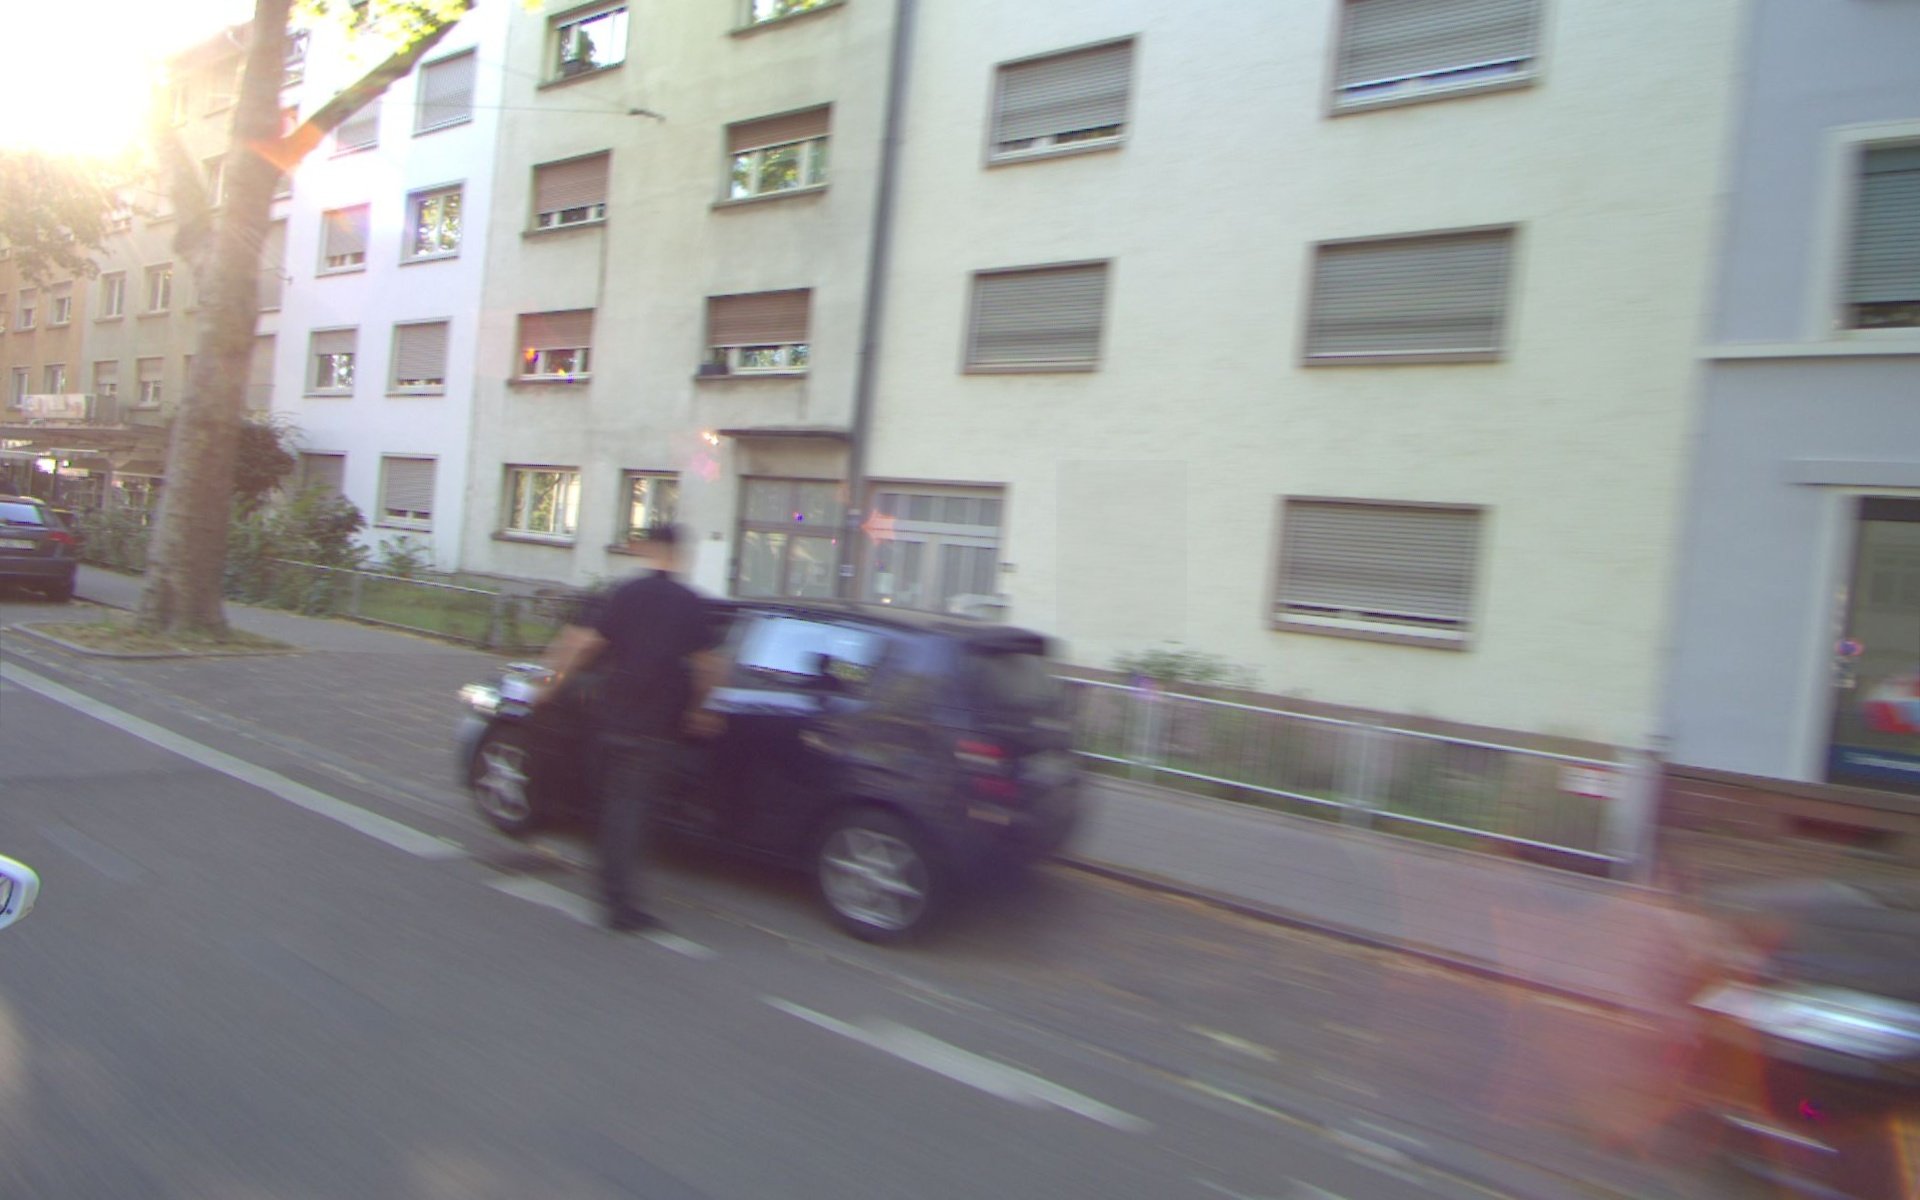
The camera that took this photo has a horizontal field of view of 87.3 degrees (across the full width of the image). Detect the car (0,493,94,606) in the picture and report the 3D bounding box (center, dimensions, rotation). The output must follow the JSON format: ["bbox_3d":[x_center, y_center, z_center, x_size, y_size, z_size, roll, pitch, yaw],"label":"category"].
[{"bbox_3d":[-14.317,-0.853,14.379,4.292,1.434,1.709,6,2,32],"label":"car"}]

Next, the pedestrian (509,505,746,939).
[{"bbox_3d":[-1.491,0.537,4.577,0.746,1.771,0.676,7,-1,-17],"label":"pedestrian"}]

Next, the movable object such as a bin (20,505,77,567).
[{"bbox_3d":[-18.648,-1.306,20.589,0.654,1.173,0.616,7,1,29],"label":"movable object such as a bin"}]

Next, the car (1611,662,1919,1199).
[{"bbox_3d":[4.496,1.250,2.546,4.587,1.587,1.994,6,2,32],"label":"car"}]

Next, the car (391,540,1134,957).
[{"bbox_3d":[-1.215,0.626,5.928,3.955,1.482,1.746,7,0,27],"label":"car"}]

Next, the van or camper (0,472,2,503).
[{"bbox_3d":[-32.824,-3.352,32.070,5.301,1.947,1.943,7,1,31],"label":"van or camper"}]

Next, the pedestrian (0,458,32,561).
[{"bbox_3d":[-19.791,-1.879,20.674,0.995,2.039,0.683,7,1,31],"label":"pedestrian"}]
